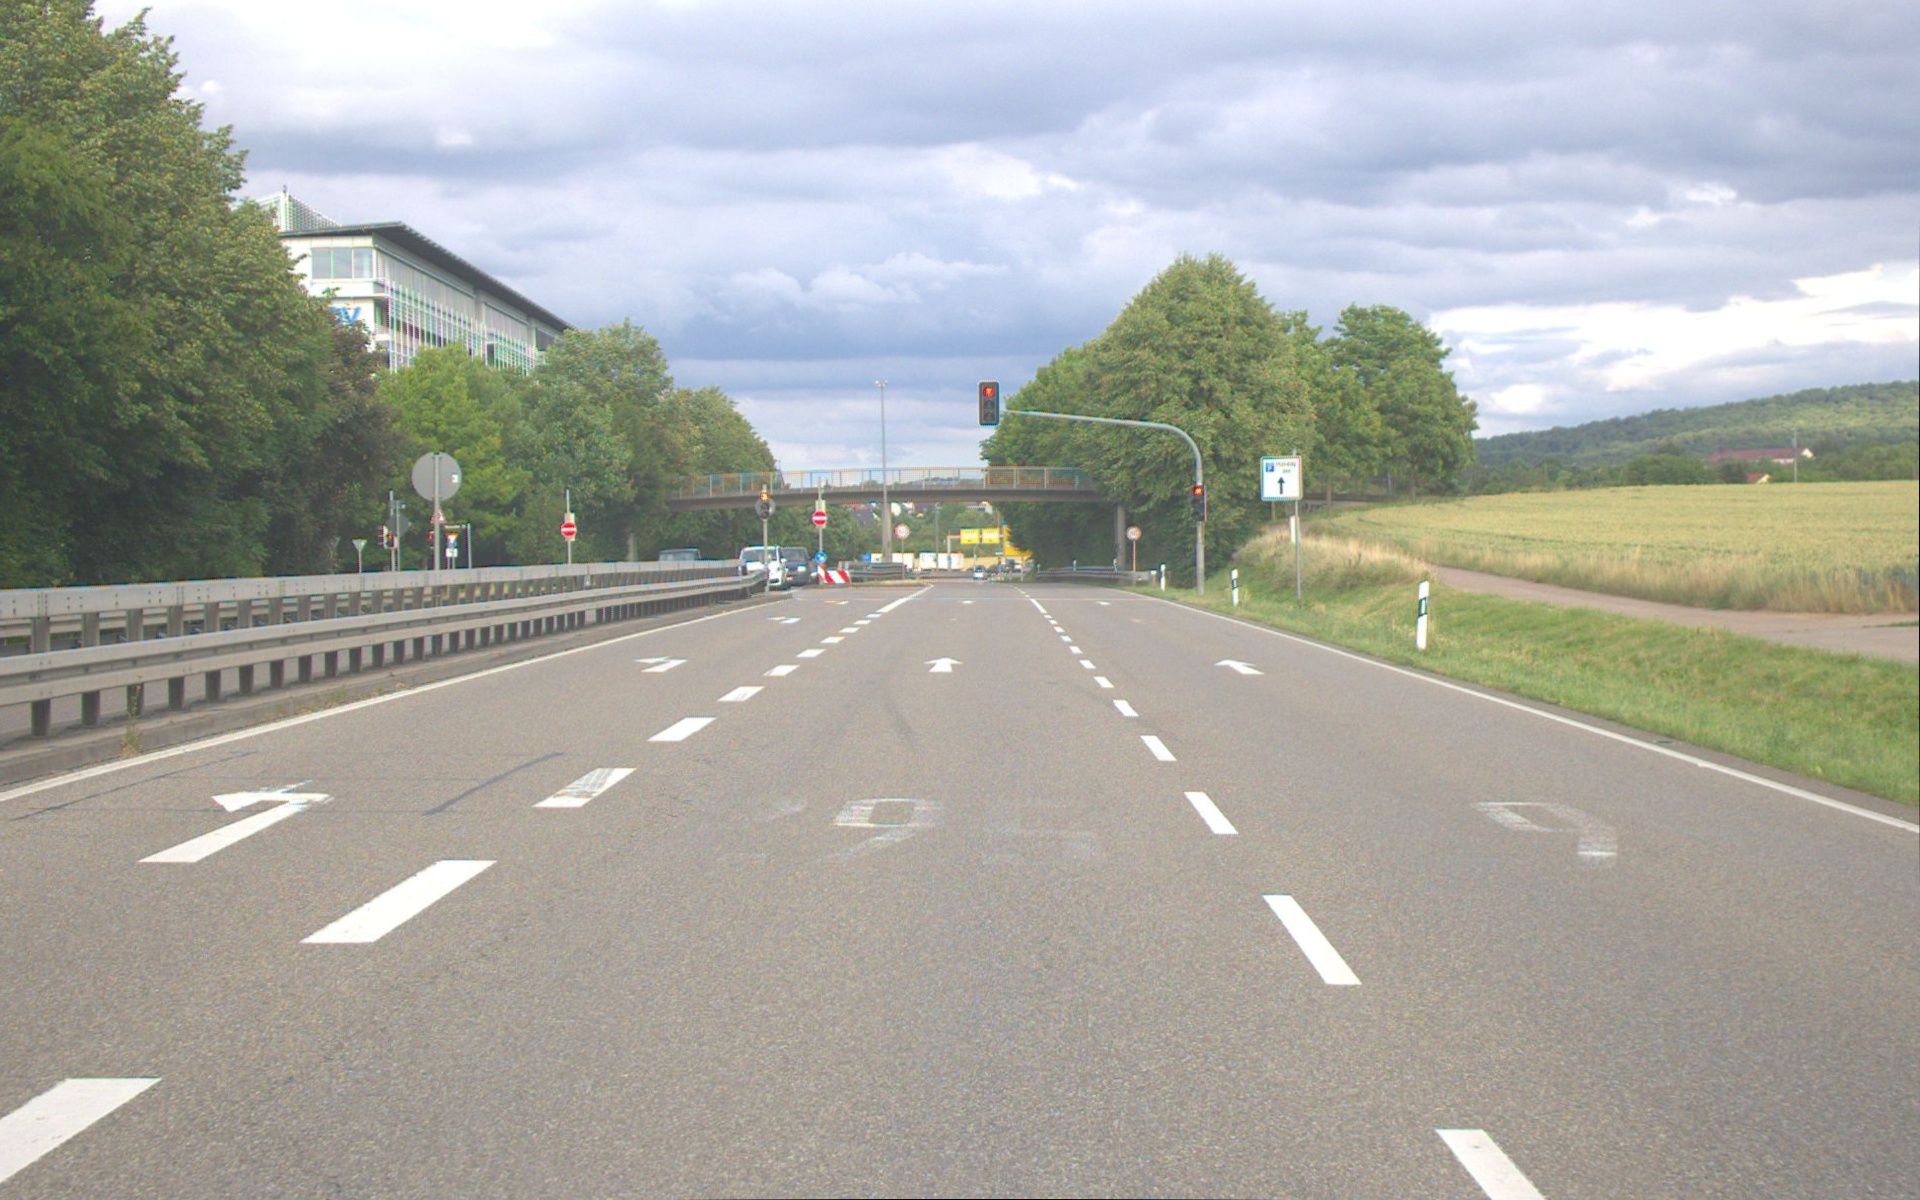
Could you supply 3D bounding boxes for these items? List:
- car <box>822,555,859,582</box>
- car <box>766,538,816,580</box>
[{"bbox_3d":[-4.900,-1.303,141.494,1.358,1.088,2.922,-1,1,1],"label":"car"},{"bbox_3d":[-7.743,-1.901,157.959,1.994,1.867,4.737,-1,1,1],"label":"car"}]
